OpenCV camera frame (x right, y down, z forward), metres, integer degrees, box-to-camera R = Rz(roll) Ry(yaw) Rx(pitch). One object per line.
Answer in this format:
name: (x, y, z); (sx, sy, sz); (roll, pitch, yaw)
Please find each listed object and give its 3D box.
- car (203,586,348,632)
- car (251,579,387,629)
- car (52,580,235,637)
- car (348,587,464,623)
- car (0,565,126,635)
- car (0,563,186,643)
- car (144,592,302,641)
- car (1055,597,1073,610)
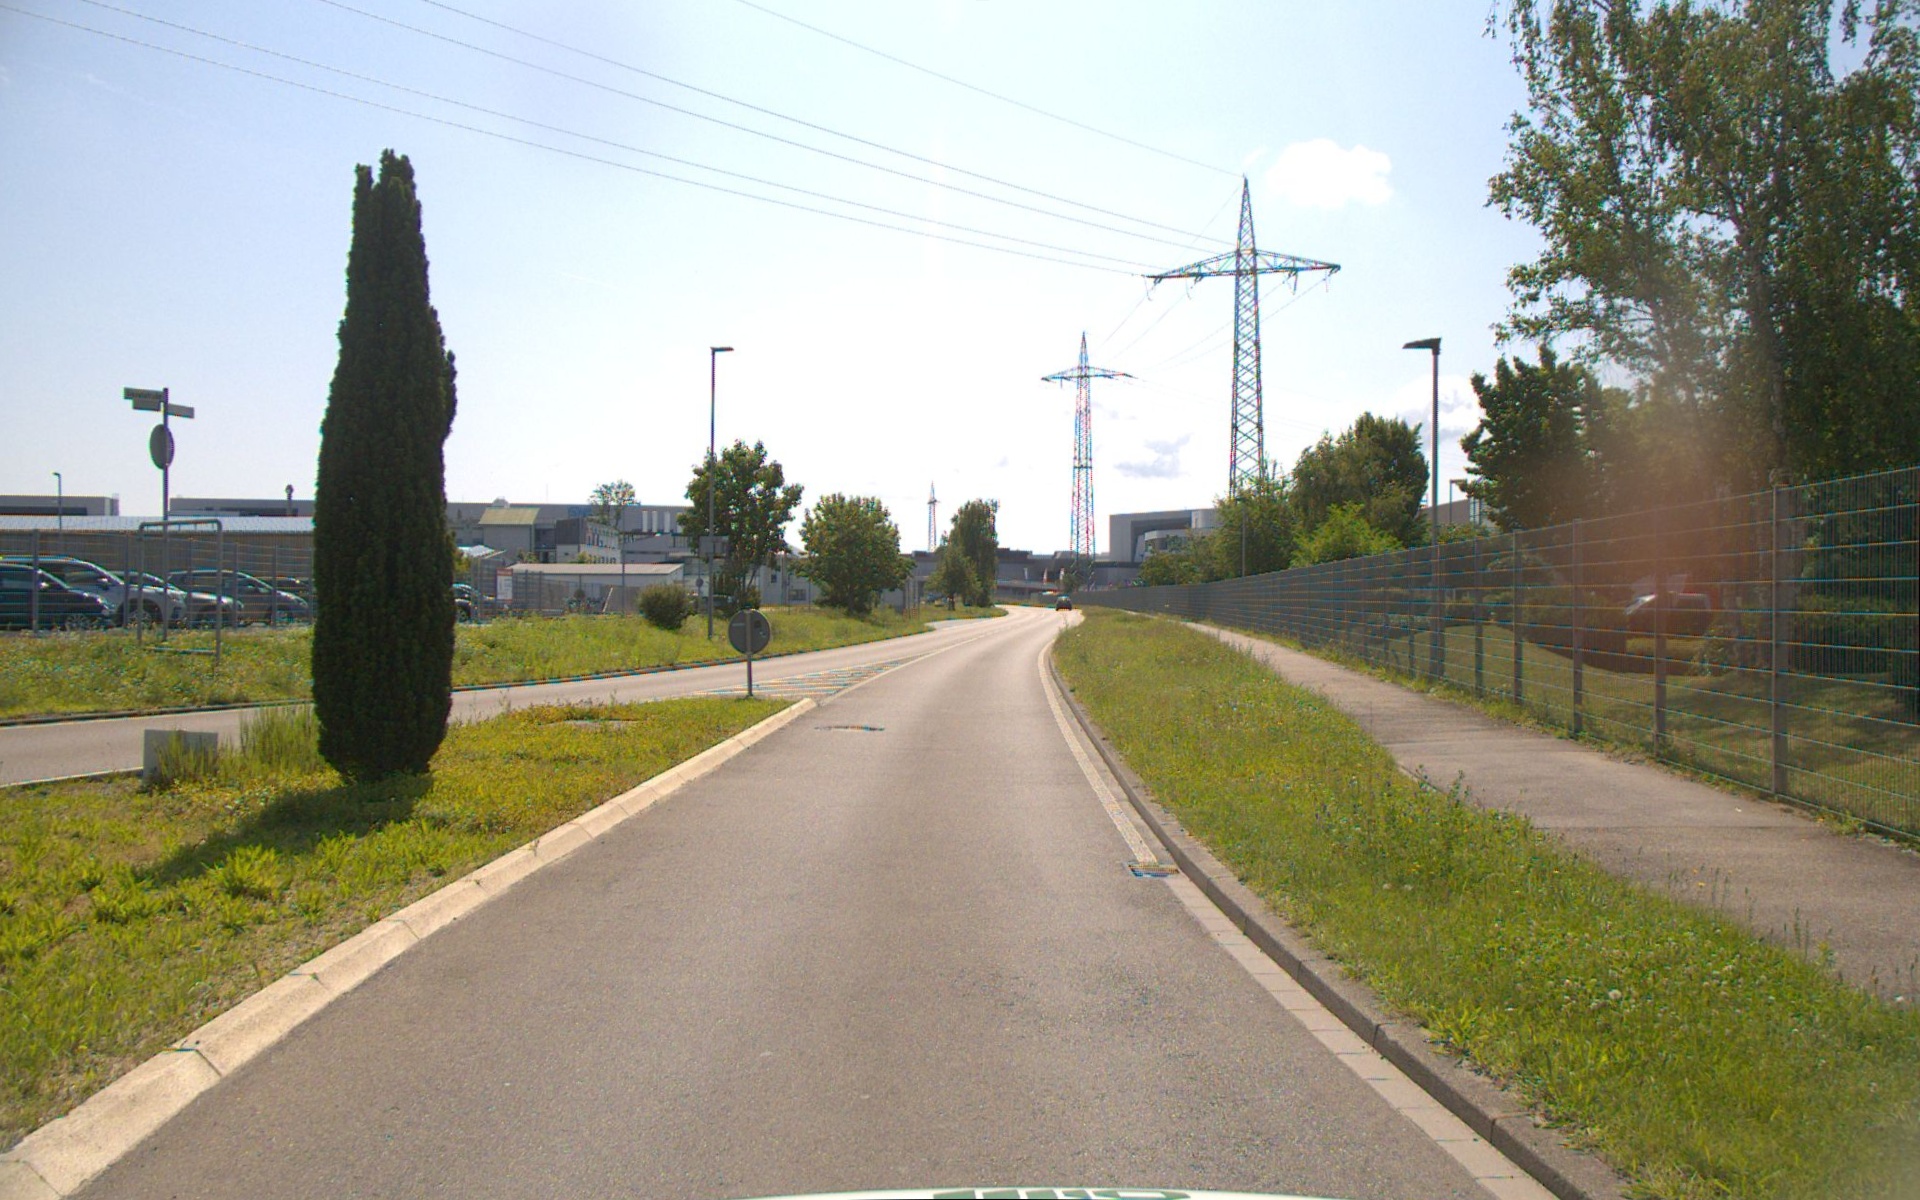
car: (-20.750, 0.266, 50.126); (3.939, 1.333, 1.926); (0, 0, -27)
car: (-20.865, 0.137, 53.843); (3.942, 1.567, 1.925); (1, 0, -29)
car: (-20.031, 0.203, 40.641); (3.942, 1.333, 1.924); (0, 0, -29)
car: (-21.270, 0.179, 63.511); (3.942, 1.333, 1.925); (1, 0, -29)
car: (-19.522, -0.001, 34.635); (3.511, 1.426, 1.788); (1, 0, -23)
car: (-19.800, 0.074, 37.468); (4.050, 1.734, 1.707); (0, 0, -29)
car: (-20.732, 0.457, 46.551); (3.942, 1.333, 1.925); (1, 0, -29)
car: (11.802, 0.400, 187.521); (1.970, 1.534, 4.001); (0, 0, 2)
